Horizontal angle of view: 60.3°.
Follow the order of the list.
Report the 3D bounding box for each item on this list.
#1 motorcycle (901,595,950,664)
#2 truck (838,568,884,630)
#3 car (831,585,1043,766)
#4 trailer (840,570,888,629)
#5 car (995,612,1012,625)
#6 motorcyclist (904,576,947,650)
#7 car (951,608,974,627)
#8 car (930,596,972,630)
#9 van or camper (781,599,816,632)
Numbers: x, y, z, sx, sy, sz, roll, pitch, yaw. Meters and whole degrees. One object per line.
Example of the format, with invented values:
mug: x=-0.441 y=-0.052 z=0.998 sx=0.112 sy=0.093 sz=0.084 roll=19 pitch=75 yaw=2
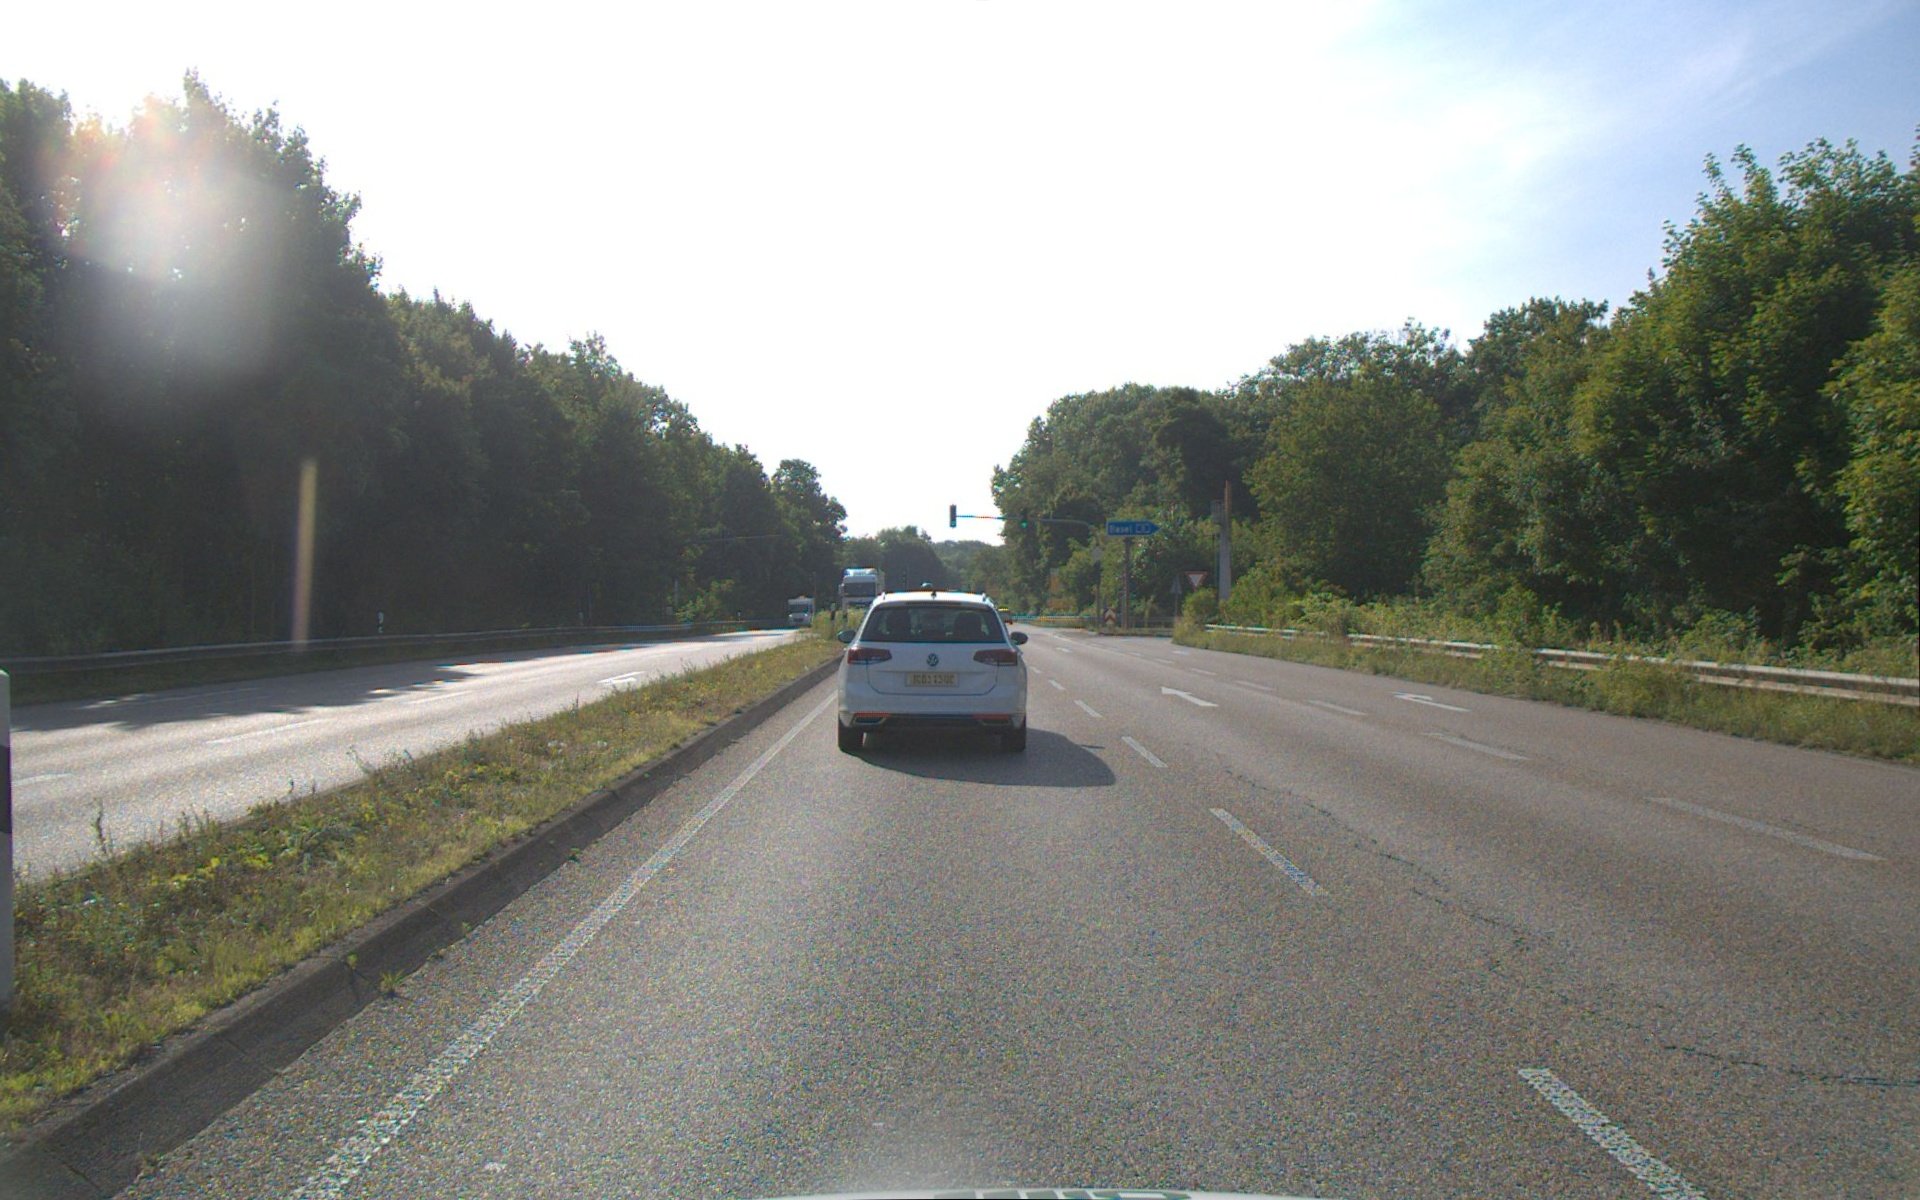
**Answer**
motorcycle: x=-0.771 y=0.650 z=37.723 sx=0.890 sy=1.479 sz=2.689 roll=-3 pitch=0 yaw=2
truck: x=-6.768 y=-0.043 z=113.746 sx=2.832 sy=4.067 sz=6.719 roll=1 pitch=-1 yaw=-2
car: x=-0.197 y=0.662 z=16.823 sx=1.831 sy=1.548 sz=4.834 roll=1 pitch=0 yaw=0
trailer: x=-6.928 y=0.022 z=121.238 sx=2.931 sy=4.066 sz=14.009 roll=1 pitch=-1 yaw=-1
car: x=4.565 y=1.958 z=174.855 sx=1.725 sy=1.404 sz=3.971 roll=1 pitch=-1 yaw=1
motorcyclist: x=-0.776 y=0.301 z=37.753 sx=0.865 sy=1.644 sz=1.290 roll=1 pitch=-1 yaw=2
car: x=0.213 y=1.364 z=130.177 sx=1.725 sy=1.404 sz=3.971 roll=1 pitch=-1 yaw=1
car: x=-0.375 y=0.579 z=72.211 sx=1.725 sy=1.404 sz=3.971 roll=1 pitch=-1 yaw=1
van or camper: x=-14.420 y=1.424 z=147.849 sx=2.364 sy=2.758 sz=6.436 roll=-3 pitch=-1 yaw=0
